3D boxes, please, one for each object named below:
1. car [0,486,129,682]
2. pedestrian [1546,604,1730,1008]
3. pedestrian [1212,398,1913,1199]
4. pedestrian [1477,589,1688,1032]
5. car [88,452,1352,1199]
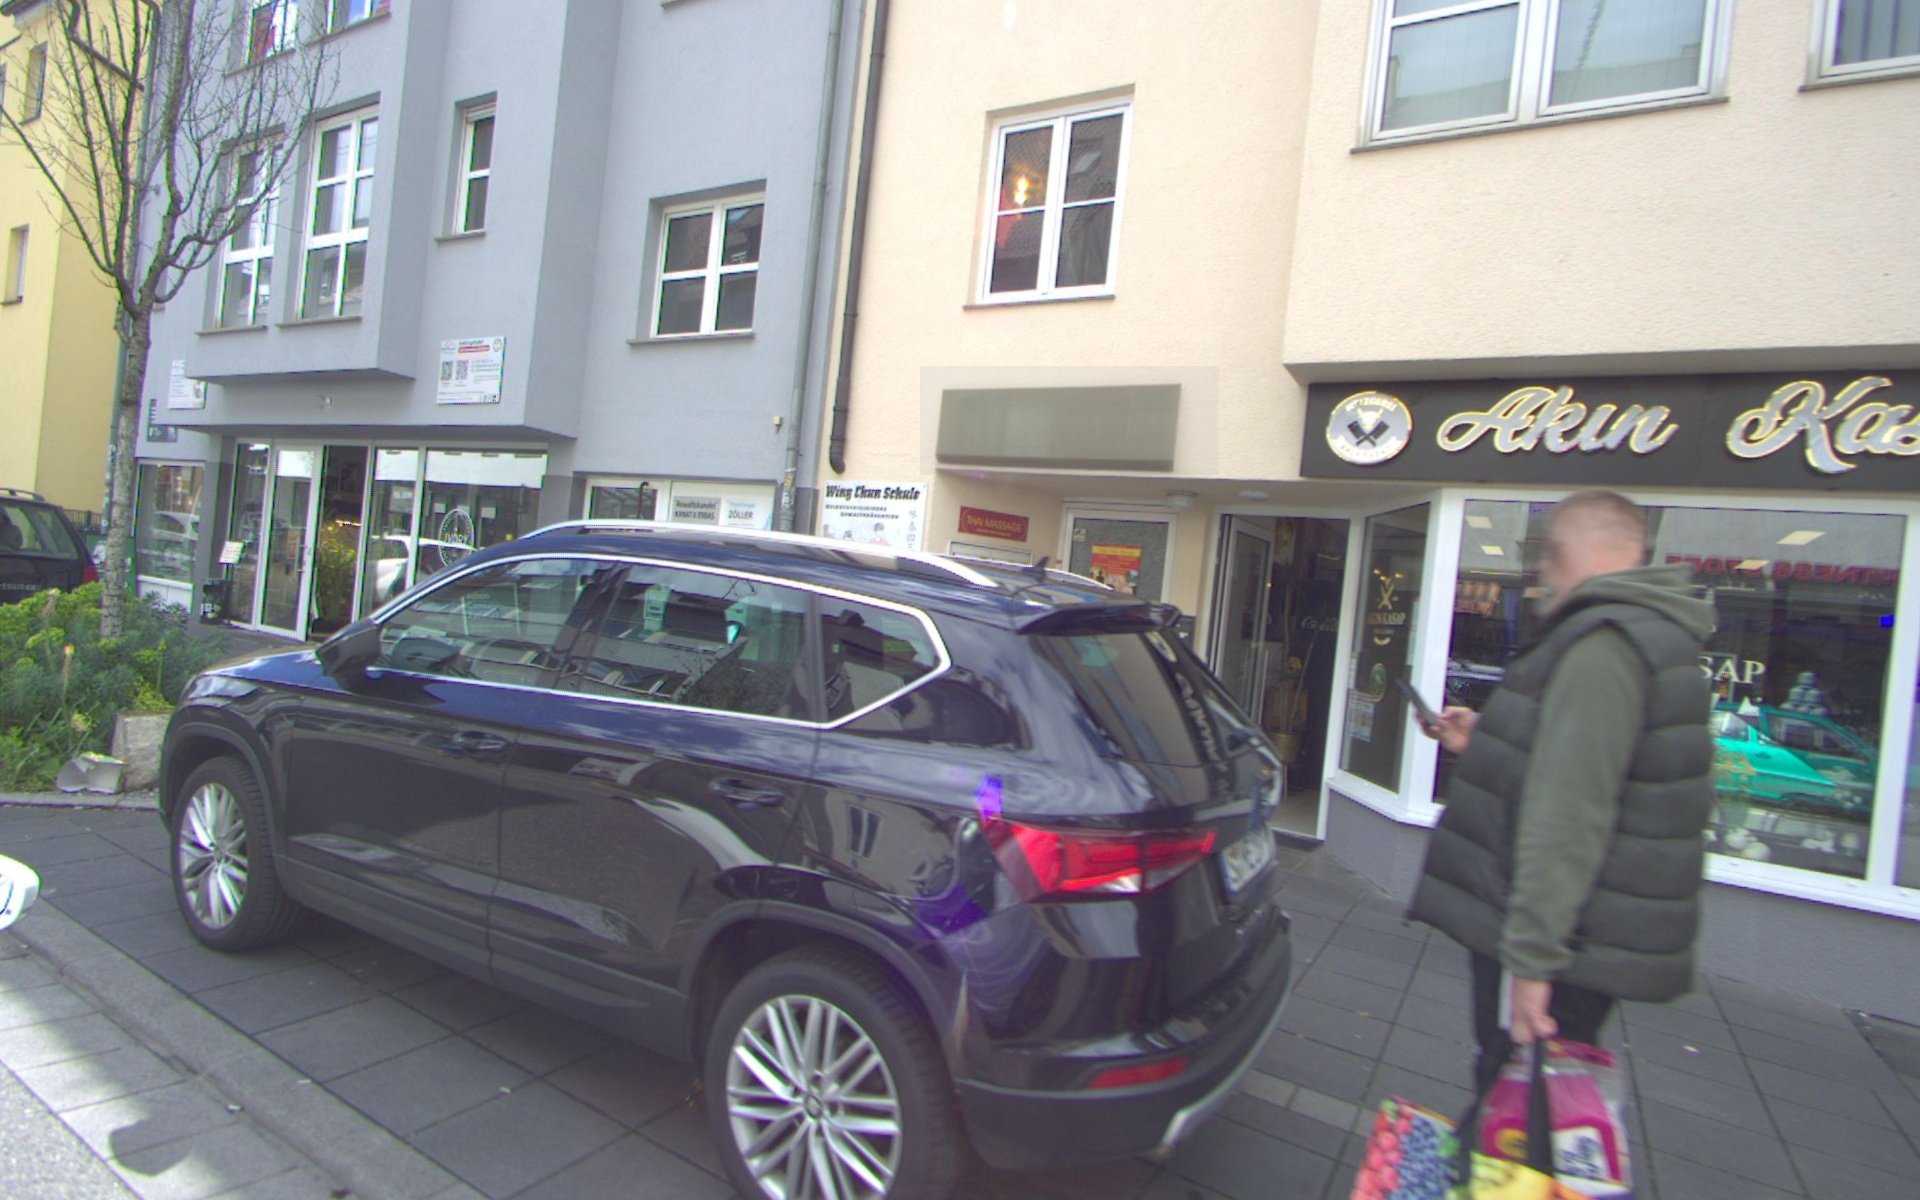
[{"bbox_3d":[-9.049,-0.304,8.439,4.221,1.459,1.691,6,2,28],"label":"car"},{"bbox_3d":[3.180,0.928,4.759,0.528,1.737,0.437,6,-1,28],"label":"pedestrian"},{"bbox_3d":[1.123,0.640,2.075,0.850,1.888,0.976,6,2,30],"label":"pedestrian"},{"bbox_3d":[2.707,0.866,4.423,0.596,1.737,0.536,6,-1,30],"label":"pedestrian"},{"bbox_3d":[-1.024,0.503,3.550,4.132,1.624,1.801,7,2,30],"label":"car"}]
